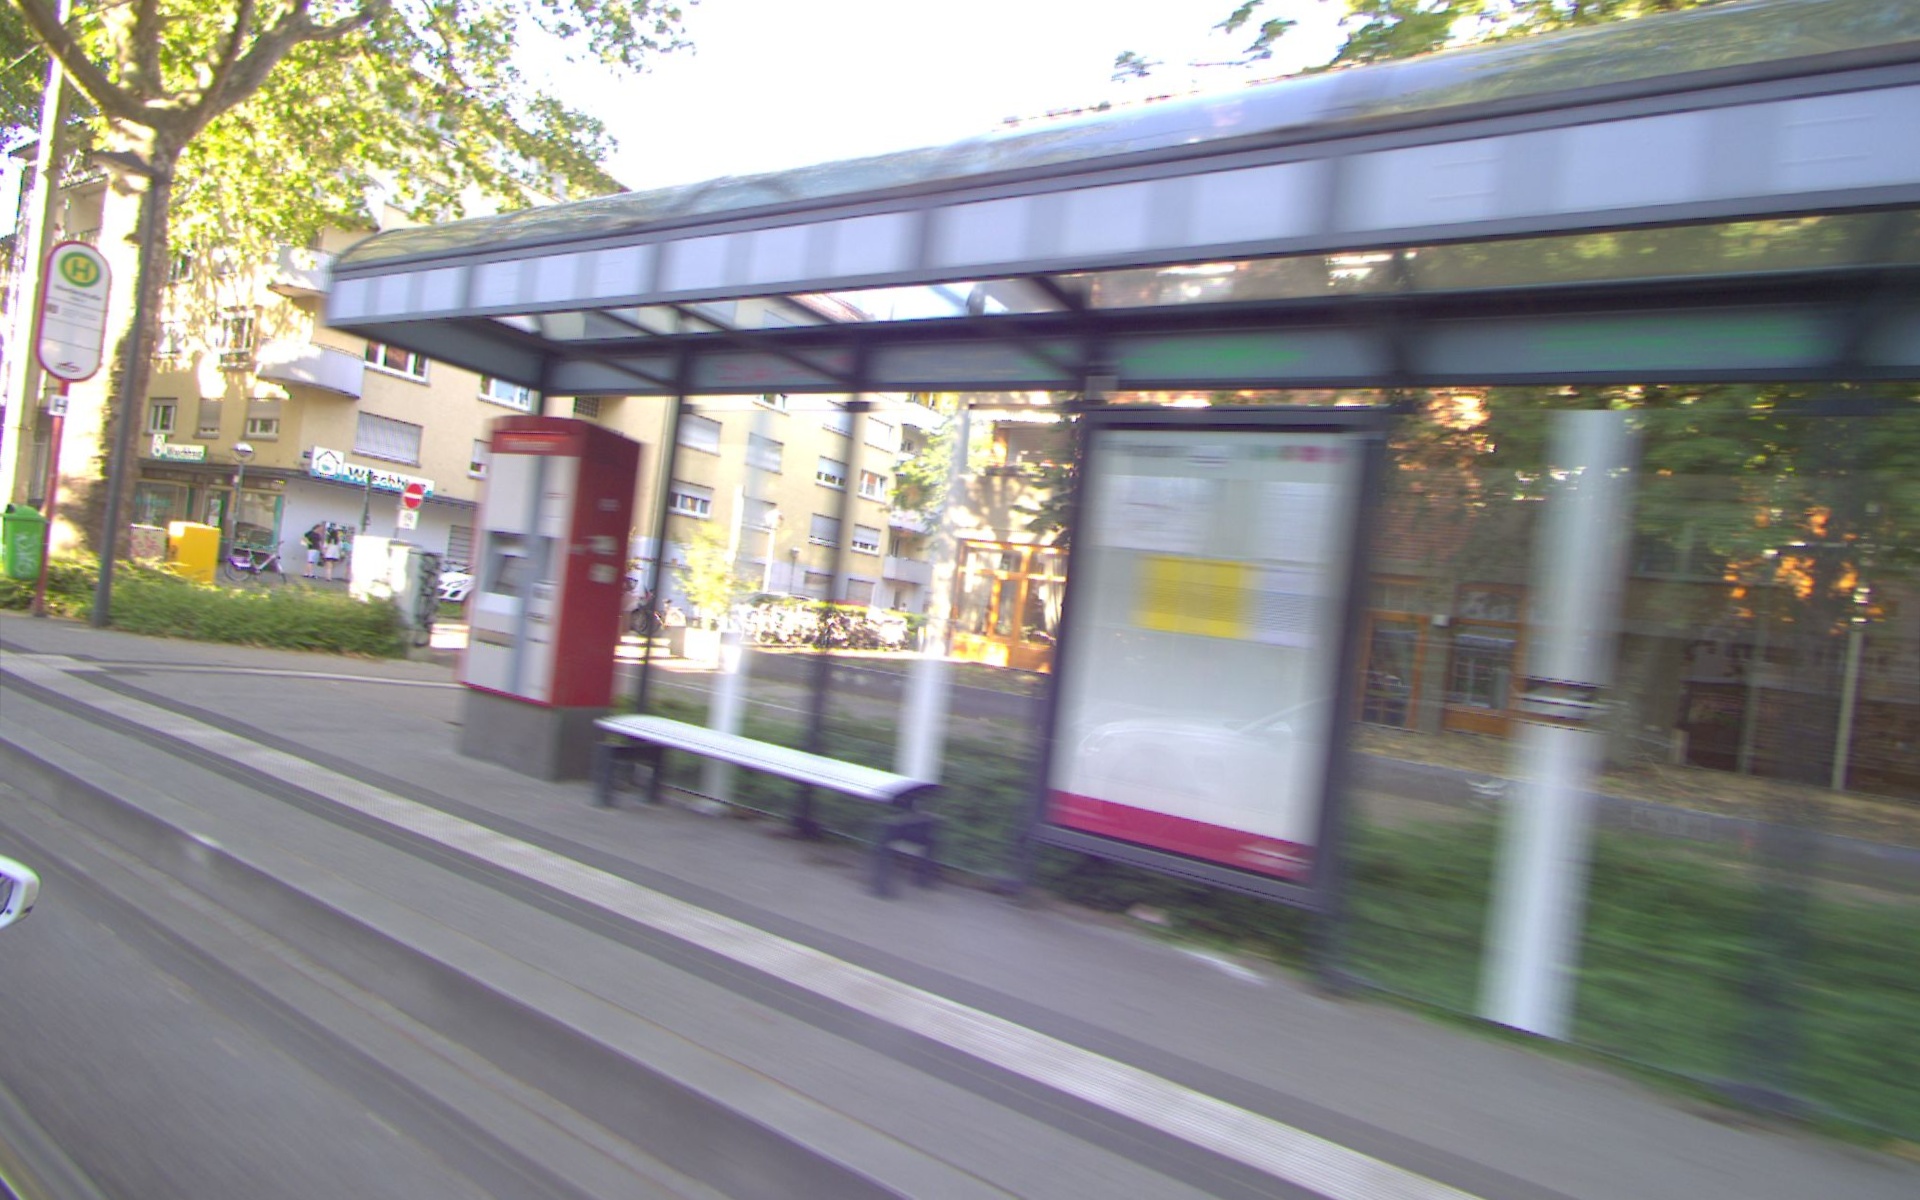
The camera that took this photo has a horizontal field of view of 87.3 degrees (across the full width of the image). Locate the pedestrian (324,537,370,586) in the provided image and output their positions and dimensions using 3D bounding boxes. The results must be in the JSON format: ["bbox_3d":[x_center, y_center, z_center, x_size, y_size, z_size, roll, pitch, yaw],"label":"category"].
[{"bbox_3d":[-19.535,-1.214,32.068,0.755,1.432,0.842,7,0,23],"label":"pedestrian"}]

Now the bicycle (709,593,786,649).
[{"bbox_3d":[-5.361,0.518,25.286,1.950,1.171,0.636,7,2,34],"label":"bicycle"}]

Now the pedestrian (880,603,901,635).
[{"bbox_3d":[-3.699,1.019,53.721,0.644,1.604,0.772,7,0,26],"label":"pedestrian"}]

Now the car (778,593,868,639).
[{"bbox_3d":[-6.131,0.736,45.482,1.835,1.571,3.867,10,1,31],"label":"car"}]

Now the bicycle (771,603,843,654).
[{"bbox_3d":[-4.129,0.757,27.150,1.820,1.171,0.661,7,2,31],"label":"bicycle"}]

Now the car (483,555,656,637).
[{"bbox_3d":[-10.355,-0.056,26.950,1.835,1.713,3.867,7,-1,31],"label":"car"}]

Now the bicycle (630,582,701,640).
[{"bbox_3d":[-6.888,0.250,23.482,1.671,1.171,0.600,7,2,35],"label":"bicycle"}]

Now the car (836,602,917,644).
[{"bbox_3d":[-4.002,1.138,48.968,1.835,1.571,3.867,10,1,31],"label":"car"}]

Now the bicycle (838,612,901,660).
[{"bbox_3d":[-2.604,1.022,28.850,1.668,1.171,0.563,7,2,27],"label":"bicycle"}]

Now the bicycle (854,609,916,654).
[{"bbox_3d":[-2.257,0.942,30.125,1.666,1.171,0.564,6,2,21],"label":"bicycle"}]

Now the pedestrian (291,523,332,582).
[{"bbox_3d":[-20.213,-1.469,31.365,0.649,1.703,0.703,7,0,4],"label":"pedestrian"}]

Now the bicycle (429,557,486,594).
[{"bbox_3d":[-17.888,-0.860,35.819,0.592,1.171,1.693,7,1,31],"label":"bicycle"}]

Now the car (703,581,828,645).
[{"bbox_3d":[-6.458,0.482,33.763,1.835,1.713,3.867,7,-1,31],"label":"car"}]

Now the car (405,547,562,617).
[{"bbox_3d":[-14.621,-0.514,31.040,1.835,1.571,3.867,10,1,31],"label":"car"}]

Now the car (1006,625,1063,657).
[{"bbox_3d":[4.730,2.603,63.434,1.835,1.571,3.867,10,1,31],"label":"car"}]

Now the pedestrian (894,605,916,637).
[{"bbox_3d":[-2.914,1.108,53.382,0.678,1.604,0.772,7,0,26],"label":"pedestrian"}]

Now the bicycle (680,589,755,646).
[{"bbox_3d":[-5.803,0.414,24.098,1.668,1.171,0.601,7,2,27],"label":"bicycle"}]

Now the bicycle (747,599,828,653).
[{"bbox_3d":[-4.506,0.674,26.271,2.017,1.171,0.731,7,1,32],"label":"bicycle"}]

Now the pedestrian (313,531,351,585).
[{"bbox_3d":[-19.259,-1.275,30.869,0.692,1.558,0.688,7,0,-17],"label":"pedestrian"}]

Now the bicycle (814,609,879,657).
[{"bbox_3d":[-3.220,0.927,28.438,1.669,1.171,0.661,7,2,31],"label":"bicycle"}]

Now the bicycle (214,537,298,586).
[{"bbox_3d":[-19.048,-1.032,27.254,0.731,1.171,1.797,6,1,10],"label":"bicycle"}]

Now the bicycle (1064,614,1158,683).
[{"bbox_3d":[2.860,0.932,18.929,1.921,1.171,0.565,6,1,-43],"label":"bicycle"}]

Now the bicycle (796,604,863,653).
[{"bbox_3d":[-3.618,0.783,27.837,1.669,1.171,0.661,7,2,31],"label":"bicycle"}]

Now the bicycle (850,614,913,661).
[{"bbox_3d":[-2.302,1.084,29.426,1.666,1.171,0.521,6,2,21],"label":"bicycle"}]
